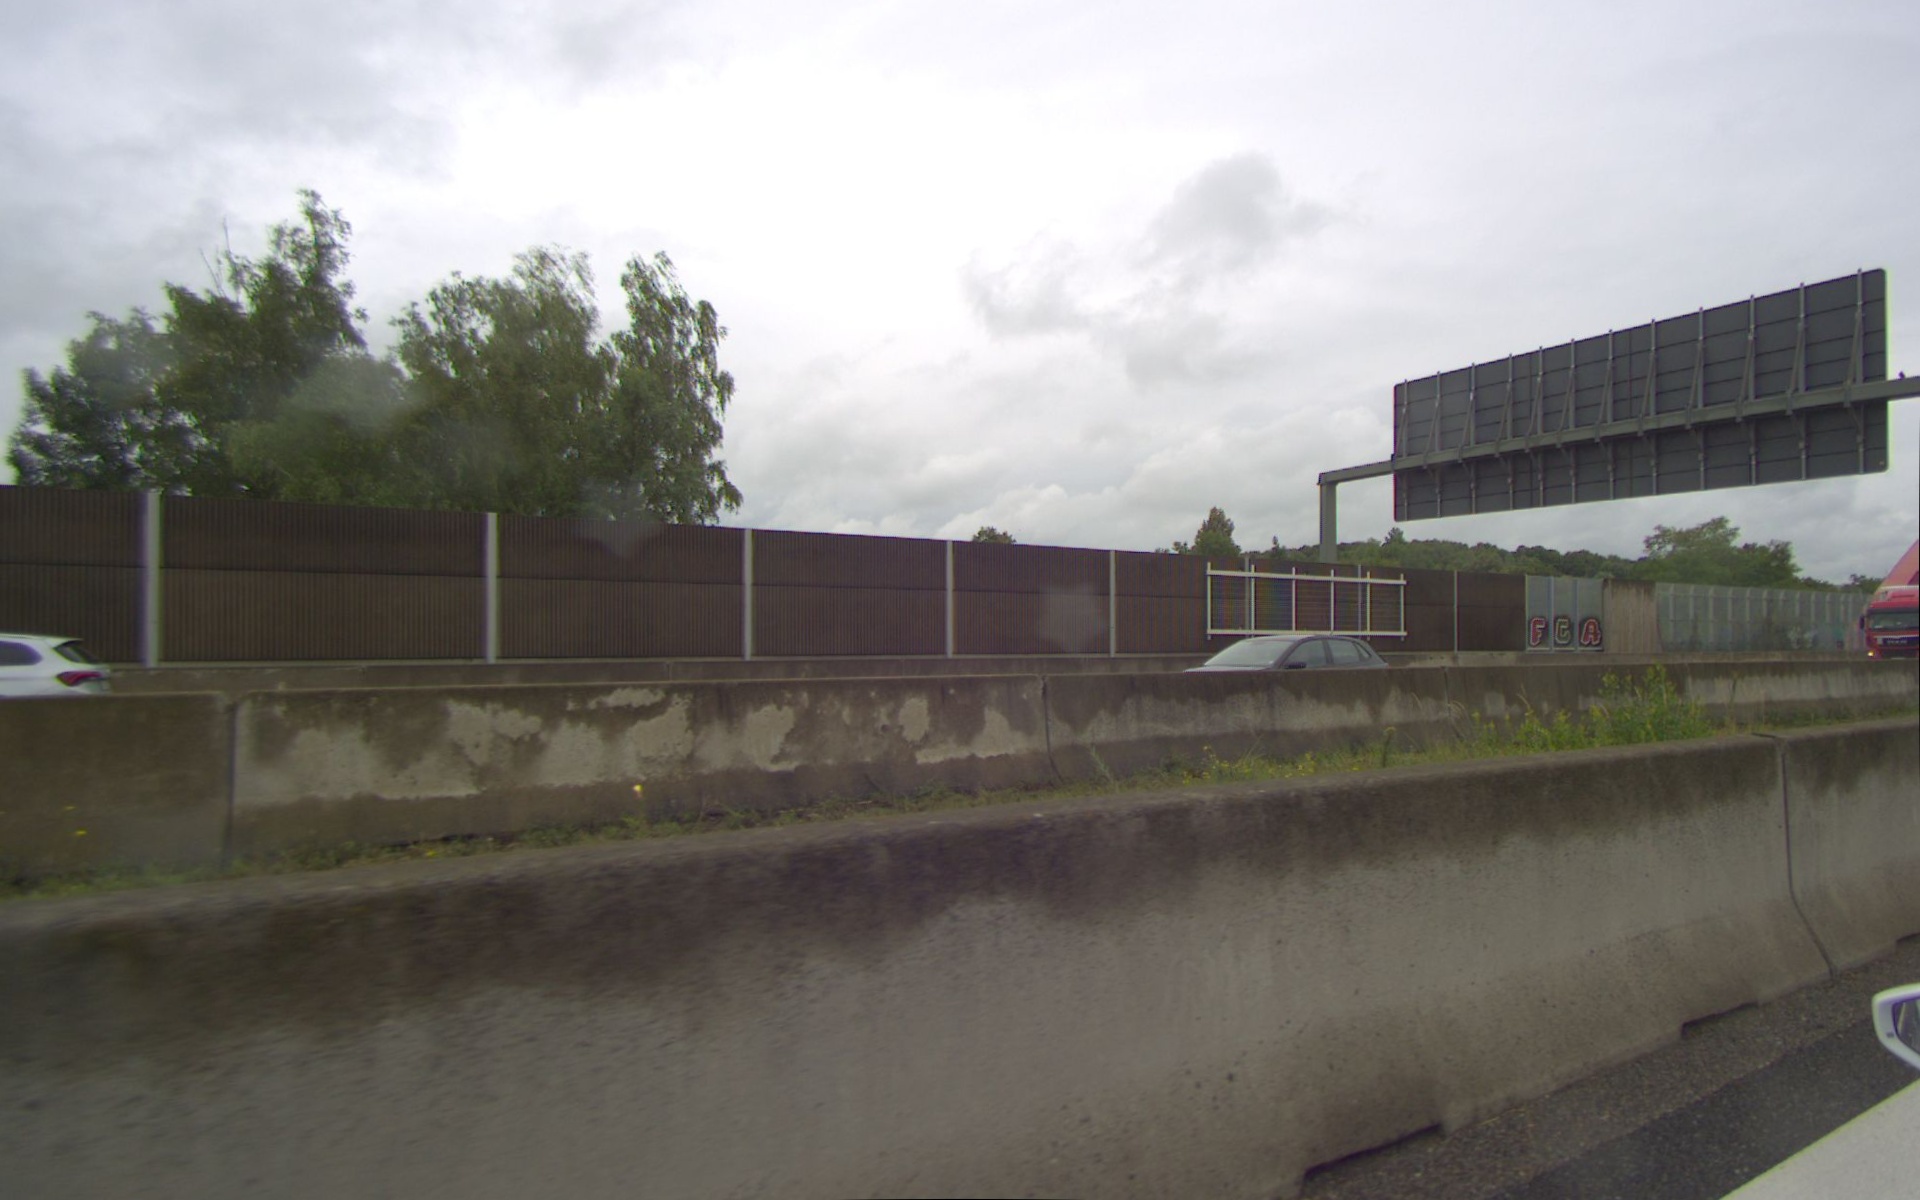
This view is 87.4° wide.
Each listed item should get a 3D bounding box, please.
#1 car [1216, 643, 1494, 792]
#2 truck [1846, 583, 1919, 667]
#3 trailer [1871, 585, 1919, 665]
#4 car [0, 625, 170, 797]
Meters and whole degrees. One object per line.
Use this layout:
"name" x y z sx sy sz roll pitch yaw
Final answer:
"car" 6.083 1.671 15.433 3.950 1.947 1.861 1 0 -28
"truck" 45.210 1.190 47.779 5.848 3.803 2.969 1 0 -31
"trailer" 51.434 1.327 51.533 14.142 3.778 2.969 1 0 -31
"car" -12.586 1.344 12.592 3.955 2.007 1.983 1 0 -31
